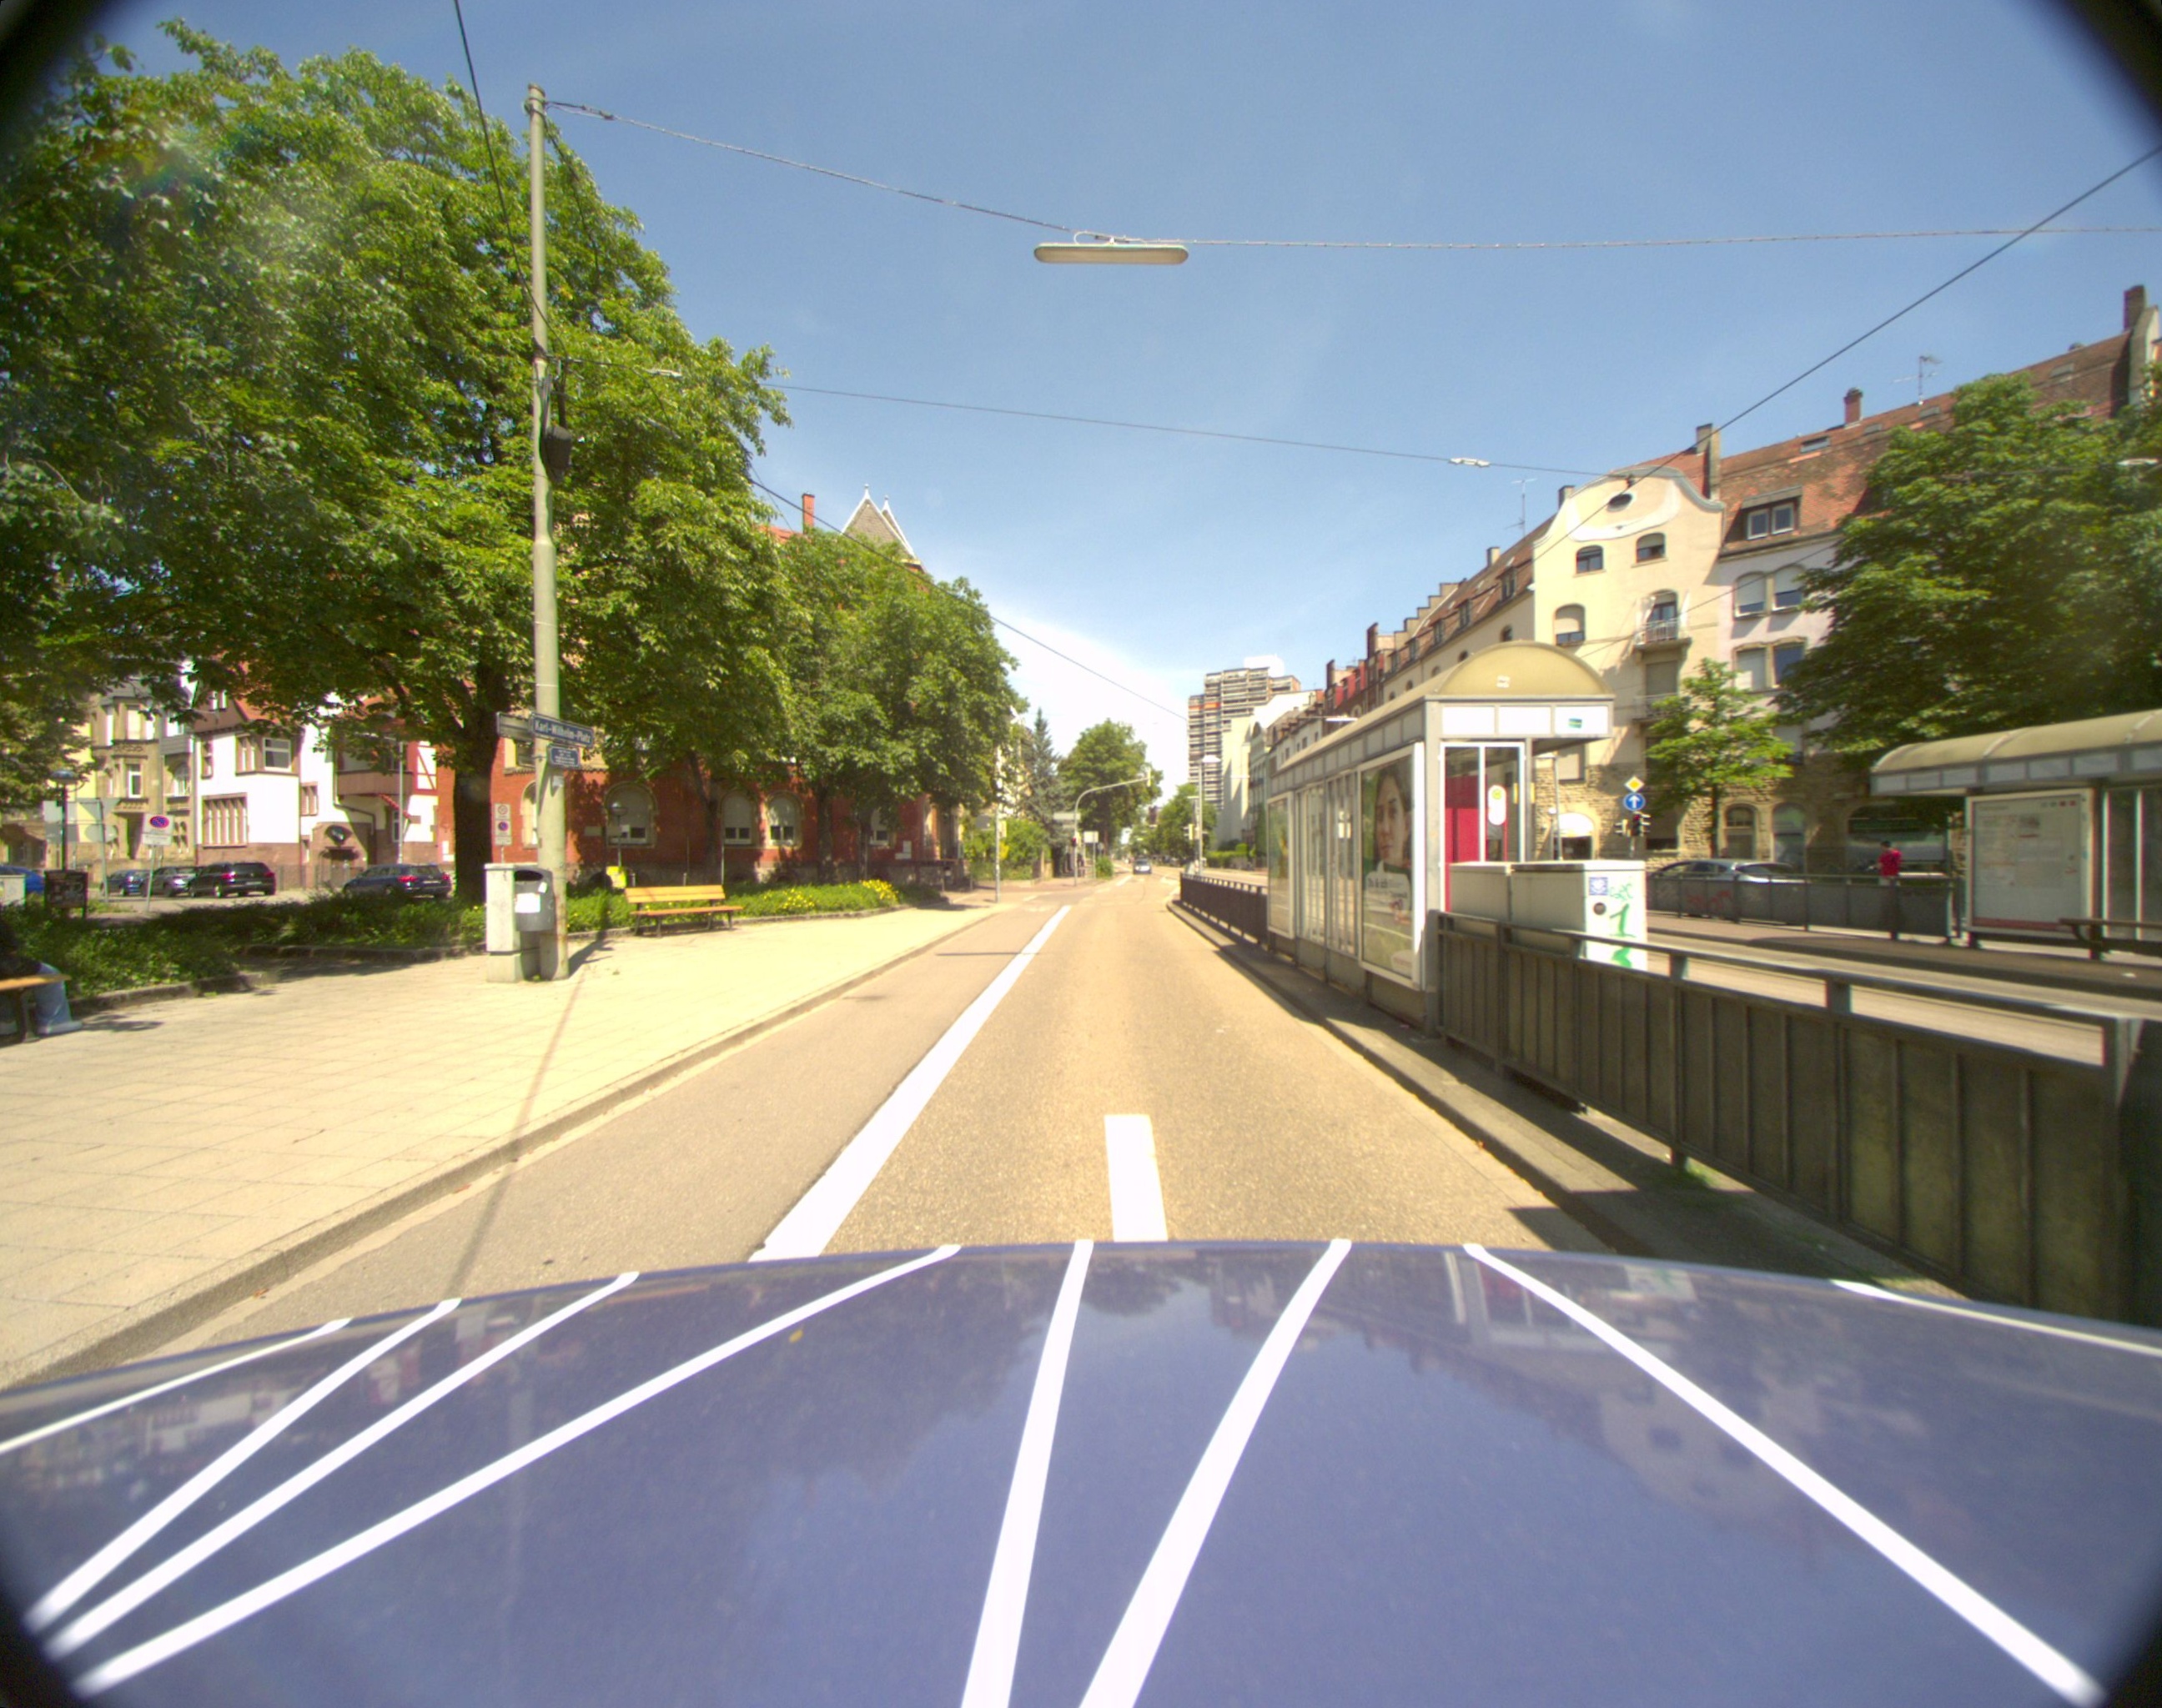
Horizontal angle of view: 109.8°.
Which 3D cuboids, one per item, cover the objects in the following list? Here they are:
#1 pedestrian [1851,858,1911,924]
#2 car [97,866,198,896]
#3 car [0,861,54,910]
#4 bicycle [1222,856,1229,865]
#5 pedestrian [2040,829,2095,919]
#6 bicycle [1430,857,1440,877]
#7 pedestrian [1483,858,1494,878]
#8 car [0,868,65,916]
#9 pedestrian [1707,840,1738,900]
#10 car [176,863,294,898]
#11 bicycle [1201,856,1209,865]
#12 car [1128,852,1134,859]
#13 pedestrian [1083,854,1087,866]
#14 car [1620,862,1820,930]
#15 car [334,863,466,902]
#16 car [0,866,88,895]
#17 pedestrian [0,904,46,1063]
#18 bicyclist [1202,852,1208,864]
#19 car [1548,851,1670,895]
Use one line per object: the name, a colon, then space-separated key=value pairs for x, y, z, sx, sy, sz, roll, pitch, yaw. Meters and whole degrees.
pedestrian: x=19.838 y=0.901 z=18.858 sx=0.681 sy=1.596 sz=0.773 roll=-1 pitch=1 yaw=-2
car: x=-48.585 y=1.392 z=39.557 sx=4.605 sy=1.456 sz=1.908 roll=-1 pitch=1 yaw=21
car: x=-37.349 y=1.047 z=24.767 sx=1.723 sy=1.642 sz=4.273 roll=-1 pitch=-1 yaw=20
bicycle: x=19.268 y=0.864 z=101.378 sx=0.493 sy=1.090 sz=2.047 roll=-1 pitch=0 yaw=1
pedestrian: x=20.865 y=0.420 z=16.079 sx=0.511 sy=1.868 sz=0.494 roll=-1 pitch=1 yaw=6
bicycle: x=22.724 y=0.844 z=48.784 sx=0.454 sy=1.218 sz=2.083 roll=-1 pitch=1 yaw=21
pedestrian: x=22.991 y=0.777 z=42.836 sx=0.406 sy=1.142 sz=0.405 roll=-1 pitch=1 yaw=-2
car: x=-32.886 y=1.133 z=21.961 sx=1.723 sy=1.421 sz=3.895 roll=-1 pitch=-1 yaw=20
pedestrian: x=19.493 y=0.482 z=23.093 sx=0.511 sy=1.812 sz=0.494 roll=-1 pitch=1 yaw=3
car: x=-39.997 y=1.234 z=35.916 sx=5.477 sy=1.523 sz=1.991 roll=-1 pitch=1 yaw=22
bicycle: x=16.061 y=0.859 z=98.436 sx=0.629 sy=1.150 sz=1.978 roll=-1 pitch=0 yaw=1
car: x=16.152 y=0.526 z=245.498 sx=1.998 sy=2.002 sz=4.000 roll=-1 pitch=1 yaw=1
pedestrian: x=0.521 y=0.784 z=100.202 sx=0.547 sy=1.683 sz=0.755 roll=0 pitch=1 yaw=1
car: x=14.720 y=0.900 z=17.788 sx=1.544 sy=1.331 sz=3.718 roll=-1 pitch=1 yaw=0
car: x=-27.199 y=1.123 z=30.359 sx=4.748 sy=1.433 sz=1.908 roll=-1 pitch=1 yaw=21
car: x=-59.582 y=1.490 z=43.609 sx=4.391 sy=1.547 sz=1.908 roll=-1 pitch=1 yaw=21
pedestrian: x=-7.790 y=0.909 z=5.293 sx=0.510 sy=1.085 sz=0.478 roll=1 pitch=0 yaw=7
bicyclist: x=16.069 y=0.480 z=98.532 sx=0.609 sy=1.565 sz=0.585 roll=-1 pitch=1 yaw=1
car: x=20.035 y=0.704 z=28.983 sx=3.579 sy=1.566 sz=1.585 roll=-1 pitch=1 yaw=24
